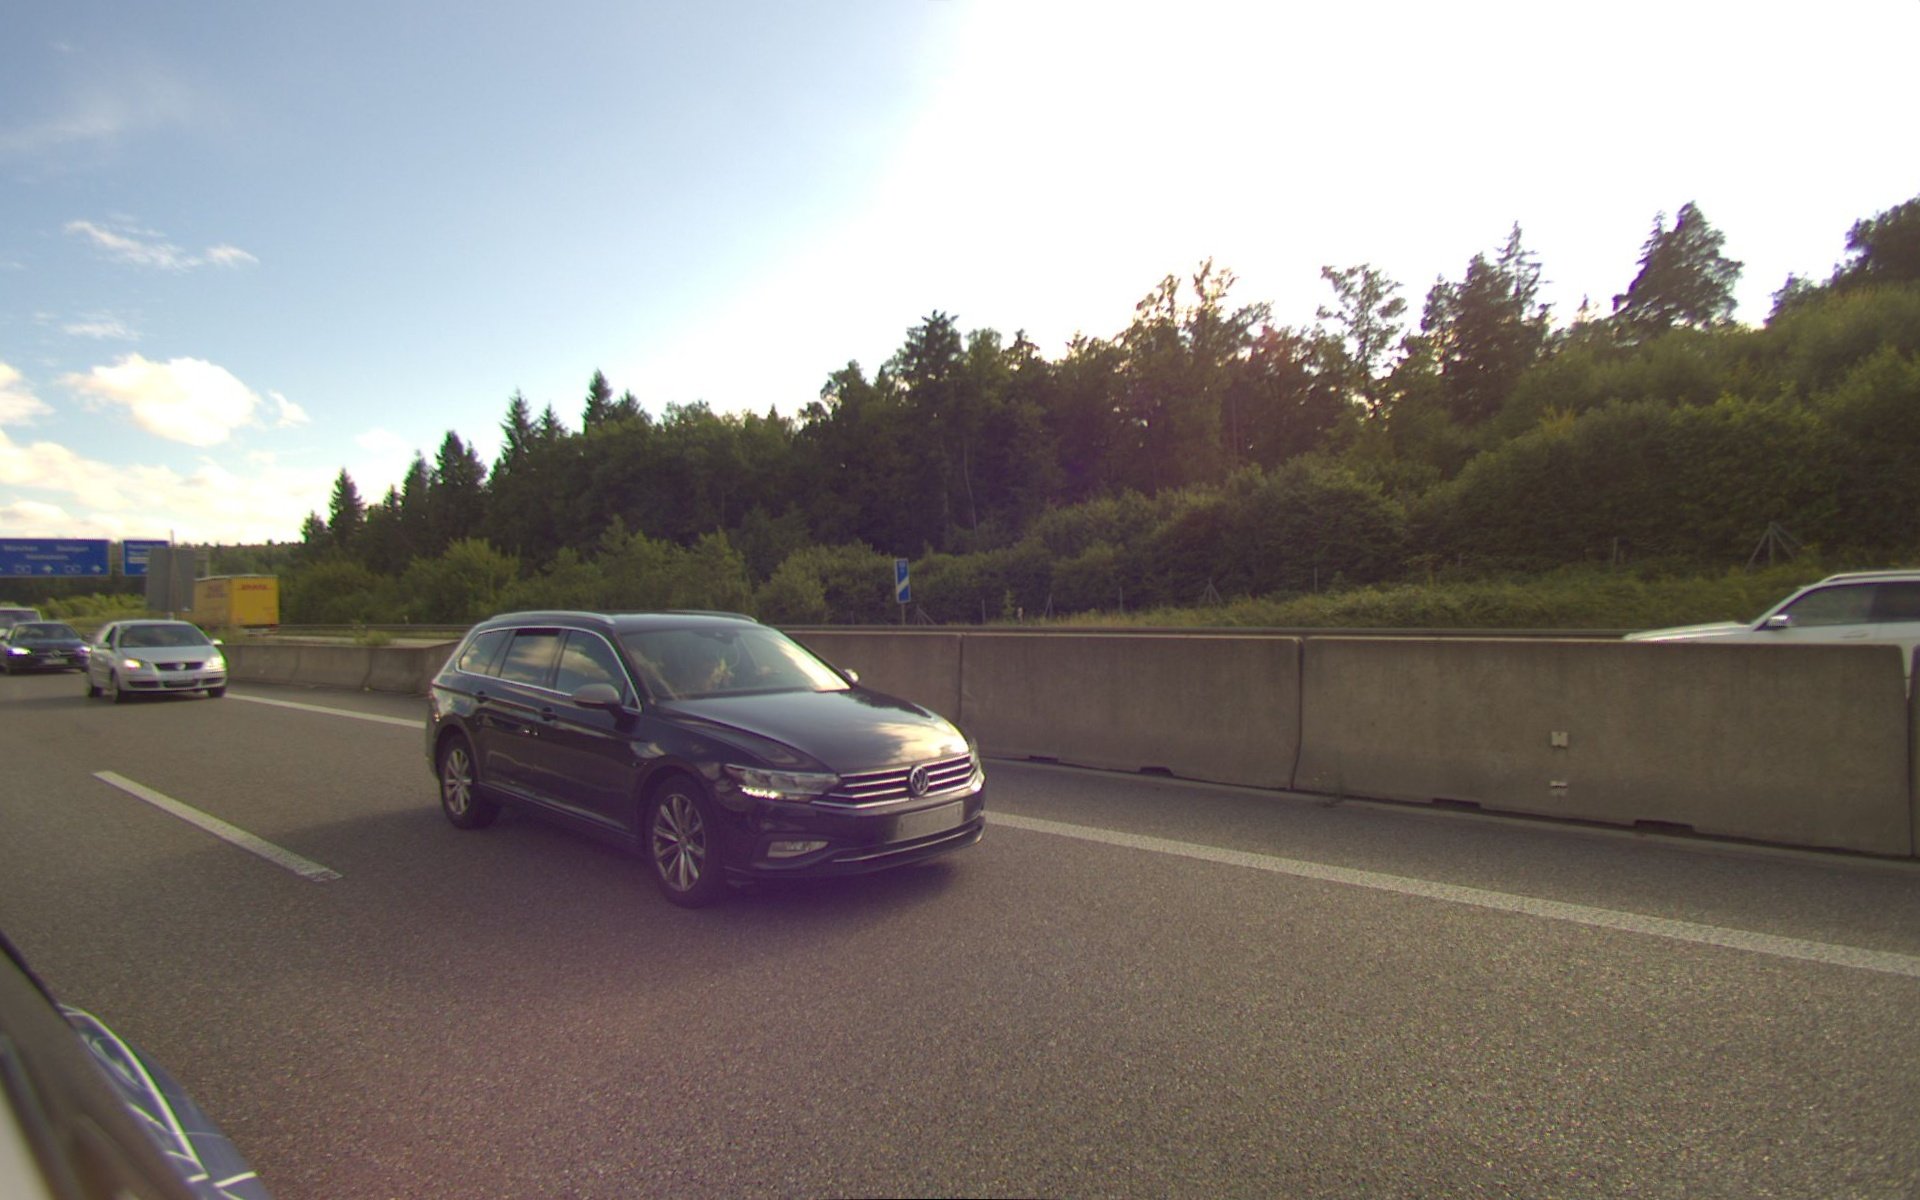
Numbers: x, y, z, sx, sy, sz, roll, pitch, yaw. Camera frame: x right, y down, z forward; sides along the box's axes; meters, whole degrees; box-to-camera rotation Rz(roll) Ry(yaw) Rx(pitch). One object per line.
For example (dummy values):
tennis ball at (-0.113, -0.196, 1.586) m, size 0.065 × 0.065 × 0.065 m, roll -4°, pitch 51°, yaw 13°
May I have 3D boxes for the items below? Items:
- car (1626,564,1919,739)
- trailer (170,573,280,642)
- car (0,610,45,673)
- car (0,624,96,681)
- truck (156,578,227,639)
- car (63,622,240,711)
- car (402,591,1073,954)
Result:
car at (10.251, 0.532, 11.468) m, size 4.320 × 1.823 × 1.833 m, roll -1°, pitch 0°, yaw 40°
trailer at (-49.300, 0.523, 67.604) m, size 13.553 × 4.234 × 2.805 m, roll -1°, pitch 0°, yaw 40°
car at (-32.141, 1.354, 33.664) m, size 4.845 × 1.980 × 1.922 m, roll -1°, pitch 0°, yaw 41°
car at (-25.910, 1.425, 28.520) m, size 3.991 × 1.442 × 1.786 m, roll -1°, pitch 0°, yaw 41°
truck at (-55.172, 0.590, 72.616) m, size 6.075 × 4.234 × 2.805 m, roll -1°, pitch 0°, yaw 40°
car at (-15.383, 1.168, 19.165) m, size 4.663 × 1.442 × 1.786 m, roll -1°, pitch 0°, yaw 41°
car at (-1.698, 0.747, 6.414) m, size 4.568 × 1.488 × 1.890 m, roll -1°, pitch -1°, yaw 43°
